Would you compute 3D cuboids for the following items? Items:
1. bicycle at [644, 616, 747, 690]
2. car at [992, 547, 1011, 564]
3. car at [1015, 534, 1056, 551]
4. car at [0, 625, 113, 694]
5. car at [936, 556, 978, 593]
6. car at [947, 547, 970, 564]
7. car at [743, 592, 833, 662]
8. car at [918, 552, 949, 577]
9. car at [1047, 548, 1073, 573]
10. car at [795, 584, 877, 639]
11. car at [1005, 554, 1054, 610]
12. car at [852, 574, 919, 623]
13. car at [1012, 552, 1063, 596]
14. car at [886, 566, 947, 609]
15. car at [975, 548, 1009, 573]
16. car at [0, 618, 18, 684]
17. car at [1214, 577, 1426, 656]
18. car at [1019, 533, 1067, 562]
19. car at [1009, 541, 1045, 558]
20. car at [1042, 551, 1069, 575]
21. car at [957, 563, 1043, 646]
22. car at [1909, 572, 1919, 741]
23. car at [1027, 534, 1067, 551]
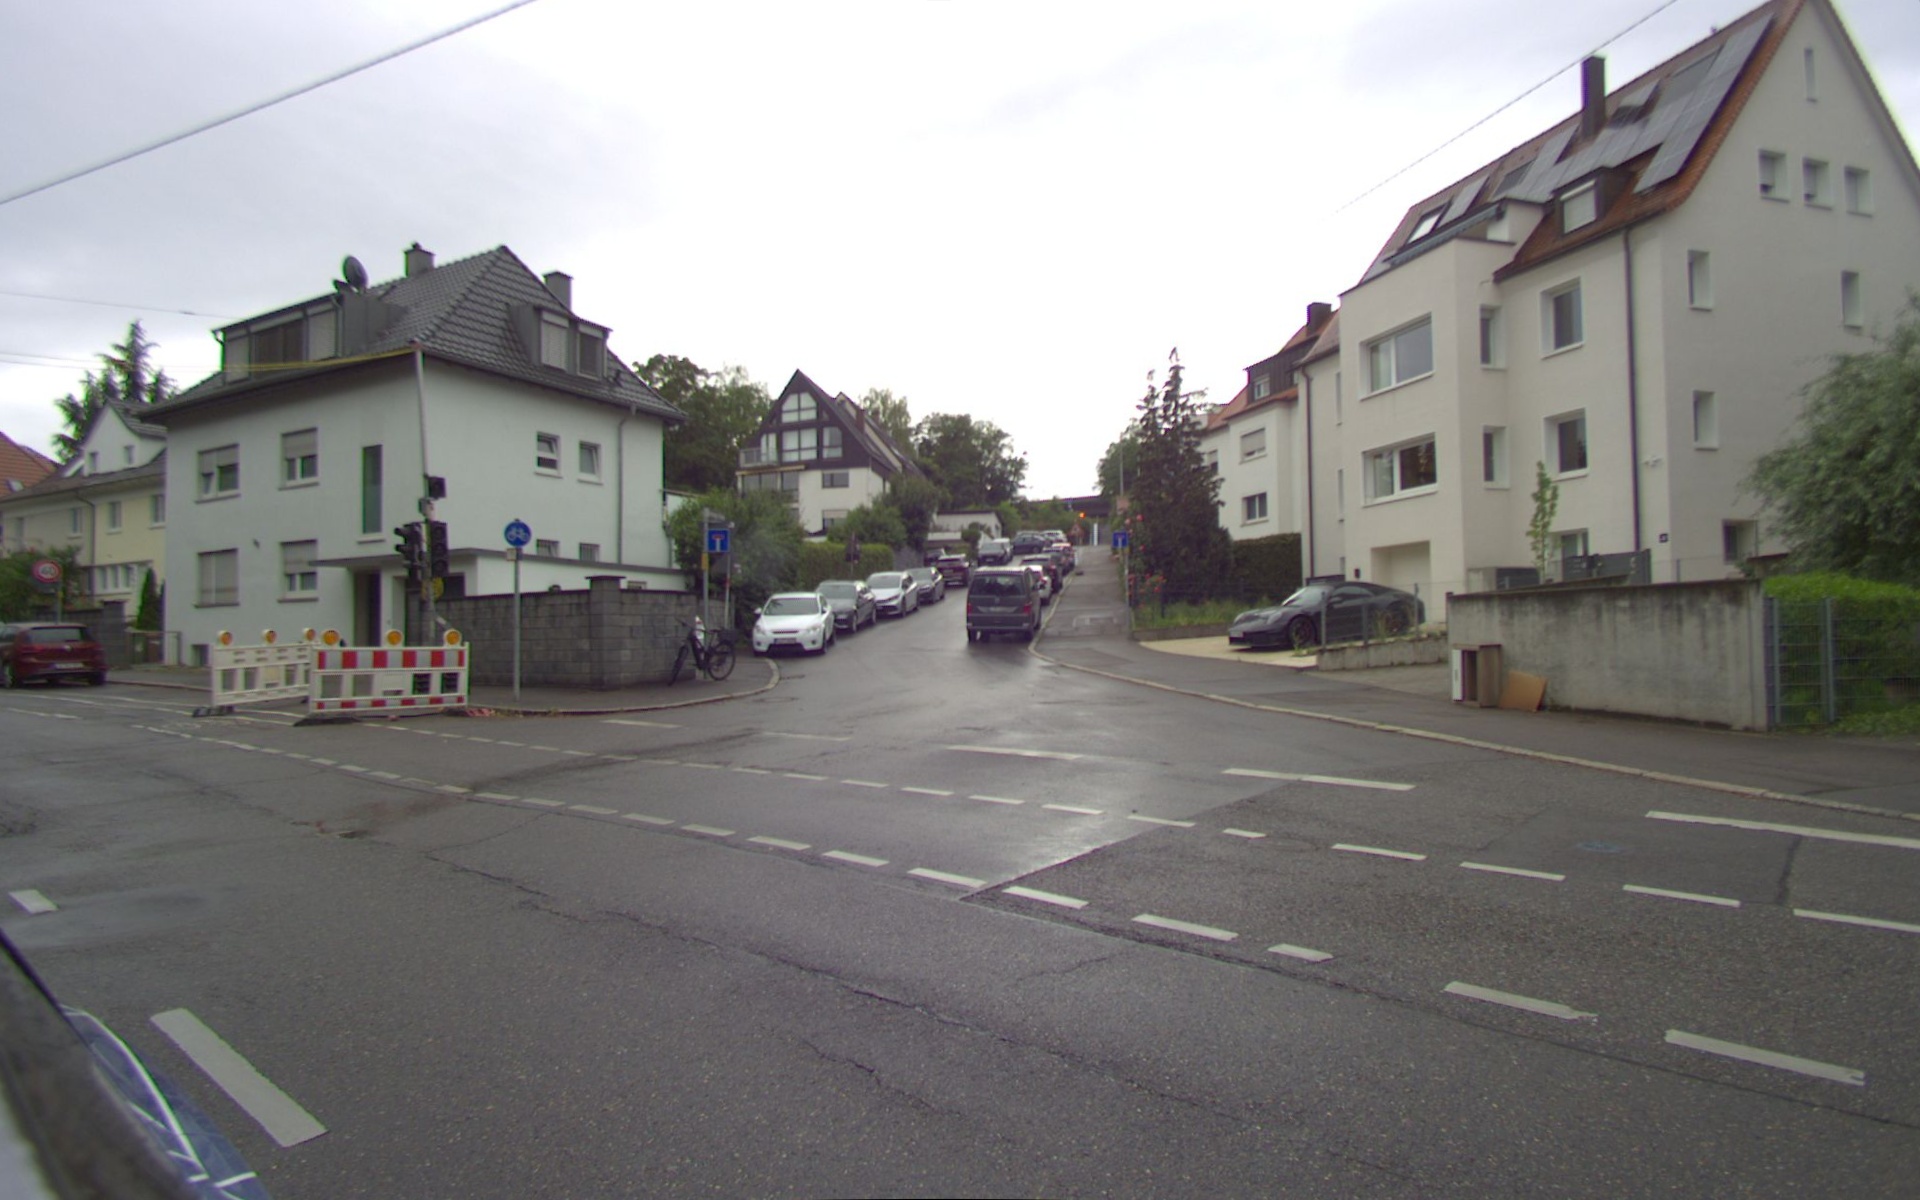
[{"bbox_3d":[-4.785,0.928,18.441,0.508,1.249,1.984,1,0,32],"label":"bicycle"},{"bbox_3d":[3.059,-3.319,74.696,1.292,1.206,2.980,-1,3,5],"label":"car"},{"bbox_3d":[7.392,-5.578,98.774,3.922,1.528,1.748,-1,0,6],"label":"car"},{"bbox_3d":[-21.468,1.331,23.366,3.833,1.443,1.768,-1,-1,30],"label":"car"},{"bbox_3d":[-0.113,-1.360,52.449,1.623,1.637,3.992,-1,5,8],"label":"car"},{"bbox_3d":[-0.081,-3.252,74.006,1.559,1.220,3.650,-1,3,2],"label":"car"},{"bbox_3d":[-4.353,0.623,26.140,1.827,1.473,4.124,-1,3,-3],"label":"car"},{"bbox_3d":[-1.826,-2.412,69.778,1.793,1.566,4.009,-1,0,3],"label":"car"},{"bbox_3d":[6.238,-2.442,62.833,1.488,1.373,3.465,-1,0,8],"label":"car"},{"bbox_3d":[-3.827,0.319,31.802,1.702,1.397,3.900,-1,4,6],"label":"car"},{"bbox_3d":[2.820,-0.753,40.308,1.686,1.843,4.194,-1,6,7],"label":"car"},{"bbox_3d":[-2.657,-0.084,37.071,1.738,1.481,3.940,-1,4,6],"label":"car"},{"bbox_3d":[3.522,-1.191,45.360,1.823,1.699,4.039,-1,5,11],"label":"car"},{"bbox_3d":[-1.806,-0.552,42.944,1.903,1.448,4.100,-1,5,7],"label":"car"},{"bbox_3d":[2.197,-2.664,68.870,1.770,1.531,4.016,-1,0,9],"label":"car"},{"bbox_3d":[-26.153,1.315,25.758,4.131,1.653,1.782,-1,-1,25],"label":"car"},{"bbox_3d":[7.708,0.331,21.756,3.942,1.290,1.613,-5,1,-13],"label":"car"},{"bbox_3d":[7.203,-4.552,87.628,3.954,2.028,1.995,-5,-1,8],"label":"car"},{"bbox_3d":[5.554,-4.189,83.639,2.914,1.328,1.282,-1,0,4],"label":"car"},{"bbox_3d":[5.503,-2.139,58.096,1.274,1.325,2.984,-1,3,10],"label":"car"},{"bbox_3d":[1.243,0.049,29.309,1.978,2.028,4.482,-1,4,9],"label":"car"},{"bbox_3d":[10.605,0.418,8.533,3.934,1.497,1.780,-2,-1,-12],"label":"car"},{"bbox_3d":[8.940,-5.887,103.899,3.782,1.529,1.664,-1,-1,15],"label":"car"}]
